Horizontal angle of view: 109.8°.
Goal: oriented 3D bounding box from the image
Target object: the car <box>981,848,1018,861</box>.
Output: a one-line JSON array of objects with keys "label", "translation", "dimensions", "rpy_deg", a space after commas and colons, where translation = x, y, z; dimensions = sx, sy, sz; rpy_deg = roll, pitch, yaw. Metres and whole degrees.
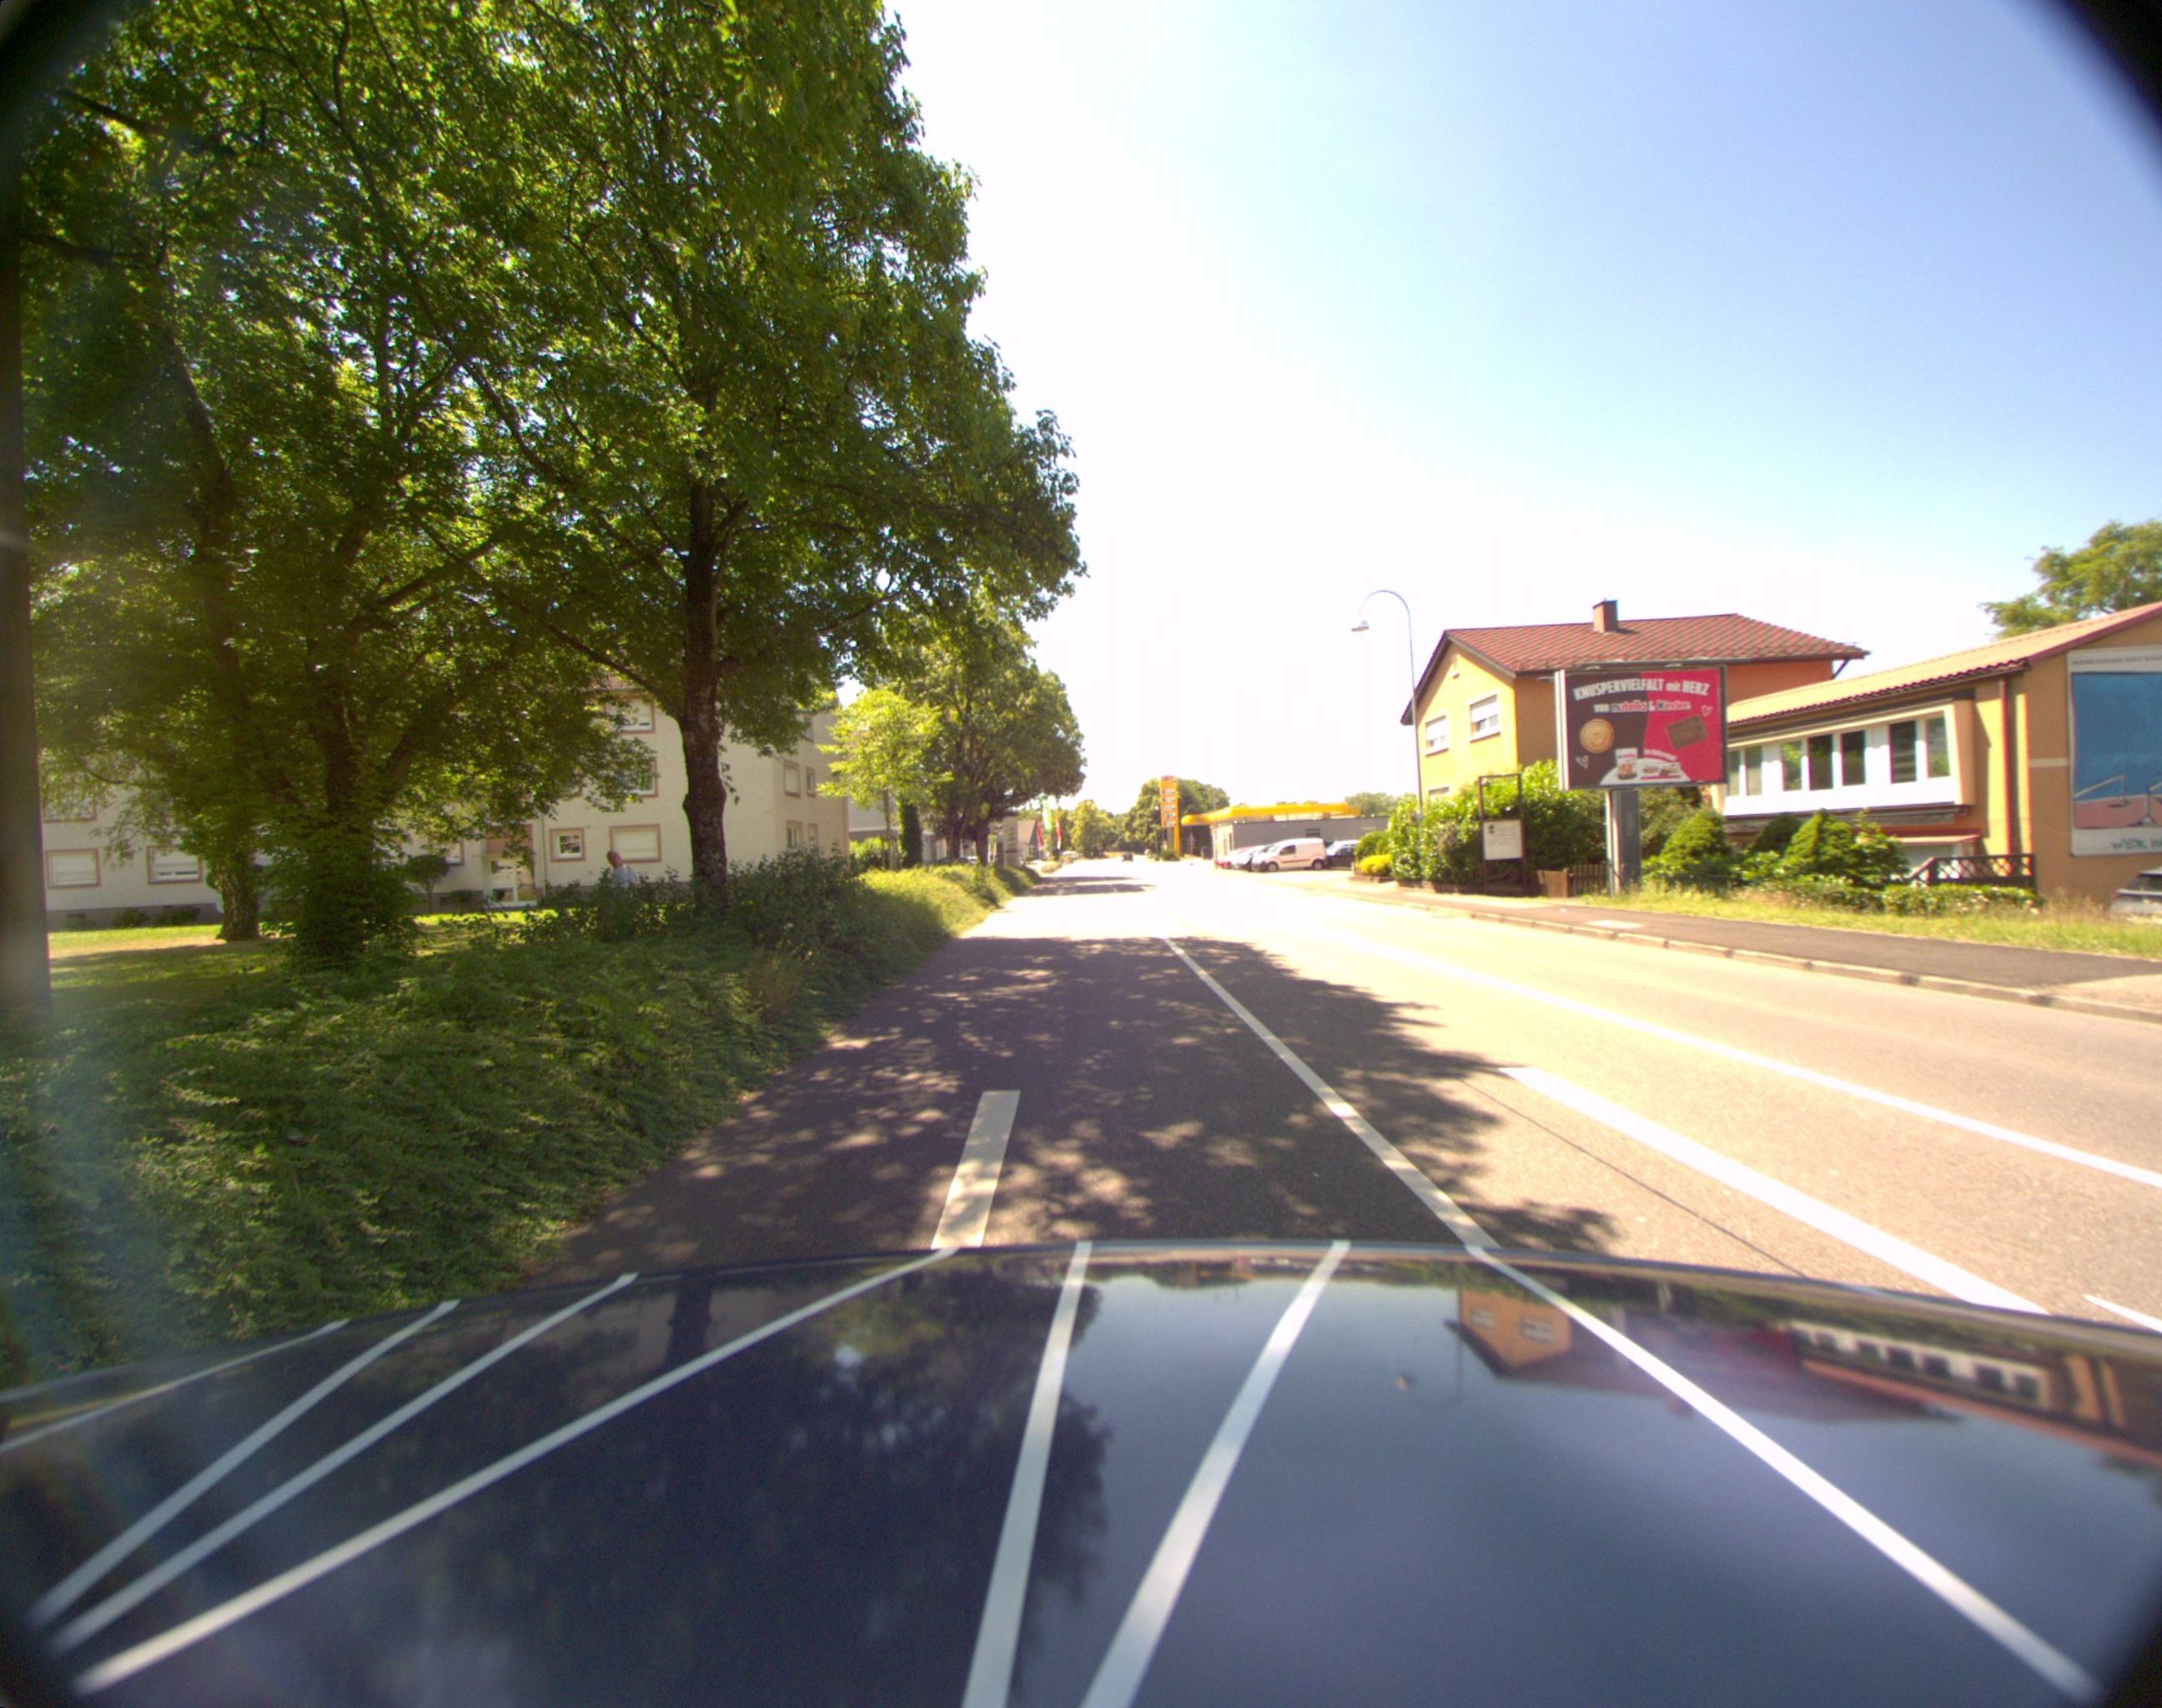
[{"label": "car", "translation": [-11.214, 0.115, 104.324], "dimensions": [4.586, 1.632, 2.002], "rpy_deg": [-2, 1, 20]}]

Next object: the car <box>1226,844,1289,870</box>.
[{"label": "car", "translation": [11.796, 0.156, 50.966], "dimensions": [3.673, 1.572, 1.922], "rpy_deg": [-2, 1, -2]}]

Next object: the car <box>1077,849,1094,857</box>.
[{"label": "car", "translation": [0.875, -0.164, 150.068], "dimensions": [3.405, 1.498, 1.582], "rpy_deg": [-2, 1, 2]}]

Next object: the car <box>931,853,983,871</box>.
[{"label": "car", "translation": [-11.417, 0.725, 69.850], "dimensions": [4.362, 1.363, 1.952], "rpy_deg": [-3, 1, -22]}]

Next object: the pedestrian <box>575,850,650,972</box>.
[{"label": "pedestrian", "translation": [-7.544, 0.902, 12.268], "dimensions": [0.705, 1.903, 0.660], "rpy_deg": [-2, 1, 3]}]

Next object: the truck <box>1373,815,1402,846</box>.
[{"label": "truck", "translation": [34.316, -2.599, 85.049], "dimensions": [1.850, 3.223, 3.189], "rpy_deg": [-2, 0, 1]}]

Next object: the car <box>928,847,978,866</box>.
[{"label": "car", "translation": [-11.157, 0.220, 66.312], "dimensions": [3.997, 1.541, 1.797], "rpy_deg": [-1, 1, 0]}]

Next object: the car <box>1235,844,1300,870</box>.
[{"label": "car", "translation": [11.914, 0.161, 48.677], "dimensions": [3.673, 1.523, 1.922], "rpy_deg": [-2, 1, -2]}]

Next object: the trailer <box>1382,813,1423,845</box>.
[{"label": "trailer", "translation": [34.254, -2.585, 81.227], "dimensions": [1.869, 3.201, 5.913], "rpy_deg": [-2, 0, 1]}]

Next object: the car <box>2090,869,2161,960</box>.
[{"label": "car", "translation": [19.768, 0.968, 12.346], "dimensions": [4.035, 1.442, 1.780], "rpy_deg": [-1, 1, 6]}]

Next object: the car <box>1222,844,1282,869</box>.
[{"label": "car", "translation": [11.871, 0.150, 52.976], "dimensions": [3.673, 1.596, 1.881], "rpy_deg": [-2, 1, -2]}]

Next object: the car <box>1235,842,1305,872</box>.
[{"label": "car", "translation": [11.501, 0.169, 46.406], "dimensions": [3.673, 1.663, 1.922], "rpy_deg": [-2, 1, -2]}]

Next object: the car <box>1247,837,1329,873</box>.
[{"label": "car", "translation": [12.025, 0.020, 44.307], "dimensions": [4.105, 1.887, 1.999], "rpy_deg": [-2, 1, -4]}]

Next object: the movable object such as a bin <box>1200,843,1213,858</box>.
[{"label": "movable object such as a bin", "translation": [13.407, -0.391, 81.111], "dimensions": [0.954, 1.508, 1.428], "rpy_deg": [-6, 0, 1]}]

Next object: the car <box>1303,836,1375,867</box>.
[{"label": "car", "translation": [16.473, -0.182, 48.663], "dimensions": [3.912, 1.850, 1.999], "rpy_deg": [-2, 1, -1]}]

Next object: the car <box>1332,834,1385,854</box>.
[{"label": "car", "translation": [24.543, -0.884, 67.266], "dimensions": [3.996, 1.575, 1.754], "rpy_deg": [-2, 1, 2]}]

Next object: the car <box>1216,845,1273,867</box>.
[{"label": "car", "translation": [11.944, 0.121, 55.550], "dimensions": [3.673, 1.449, 1.892], "rpy_deg": [-2, 1, -2]}]

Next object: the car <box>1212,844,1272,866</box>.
[{"label": "car", "translation": [12.180, 0.076, 57.720], "dimensions": [4.136, 1.436, 1.826], "rpy_deg": [-2, 1, 0]}]

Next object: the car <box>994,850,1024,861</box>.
[{"label": "car", "translation": [-10.542, 0.156, 111.232], "dimensions": [3.992, 1.452, 1.807], "rpy_deg": [-2, 1, 16]}]

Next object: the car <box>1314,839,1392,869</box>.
[{"label": "car", "translation": [16.525, 0.011, 46.277], "dimensions": [3.997, 1.559, 1.830], "rpy_deg": [-3, 0, -1]}]

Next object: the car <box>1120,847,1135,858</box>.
[{"label": "car", "translation": [6.698, -0.244, 109.673], "dimensions": [1.714, 1.486, 4.277], "rpy_deg": [-2, 0, 0]}]
